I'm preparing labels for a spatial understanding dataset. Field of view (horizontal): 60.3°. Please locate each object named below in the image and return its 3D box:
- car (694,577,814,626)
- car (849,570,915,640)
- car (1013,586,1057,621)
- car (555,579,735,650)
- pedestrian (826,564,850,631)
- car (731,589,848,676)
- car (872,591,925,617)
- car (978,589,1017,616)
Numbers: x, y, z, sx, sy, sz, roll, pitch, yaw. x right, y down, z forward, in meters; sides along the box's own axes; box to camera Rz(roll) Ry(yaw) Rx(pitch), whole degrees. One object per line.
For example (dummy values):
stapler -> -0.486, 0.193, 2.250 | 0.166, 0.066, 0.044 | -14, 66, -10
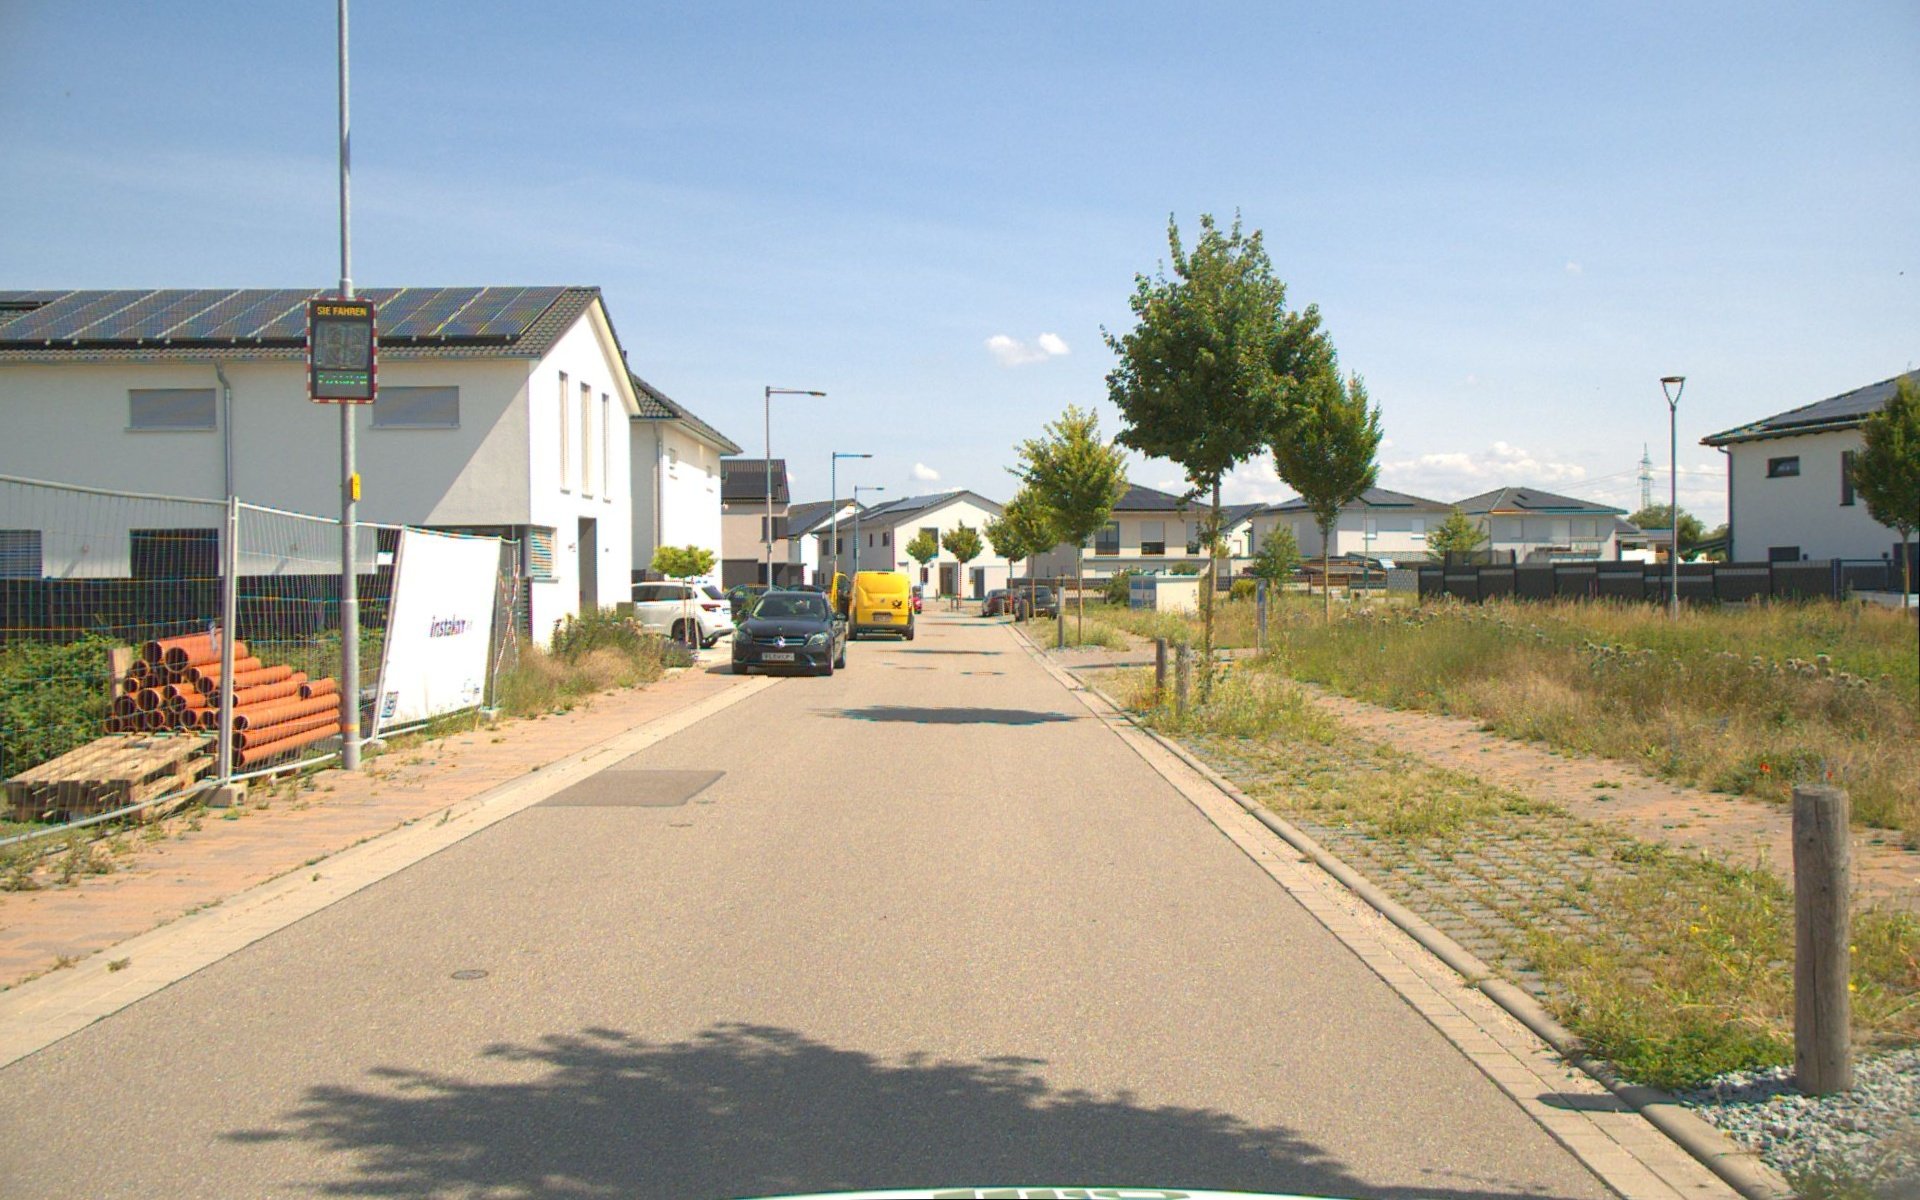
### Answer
car -> -7.614, 0.055, 61.024 | 4.093, 1.531, 1.808 | 4, -1, -16
car -> -2.406, 0.152, 50.302 | 1.903, 2.016, 4.213 | 0, -1, -4
car -> 3.157, 0.159, 70.387 | 1.606, 1.427, 3.809 | 0, -1, -1
car -> -7.713, 0.339, 40.648 | 3.982, 1.609, 1.785 | 1, 1, 6
pedestrian -> -3.777, -0.087, 51.313 | 0.638, 2.049, 1.123 | 0, -1, 0
car -> -3.061, 0.548, 30.415 | 1.710, 1.429, 4.159 | 2, 0, 0
car -> -3.619, 0.273, 96.088 | 1.962, 1.456, 4.678 | 0, -1, -17
car -> 1.995, 0.168, 88.999 | 1.597, 1.346, 3.827 | 0, -2, -7
